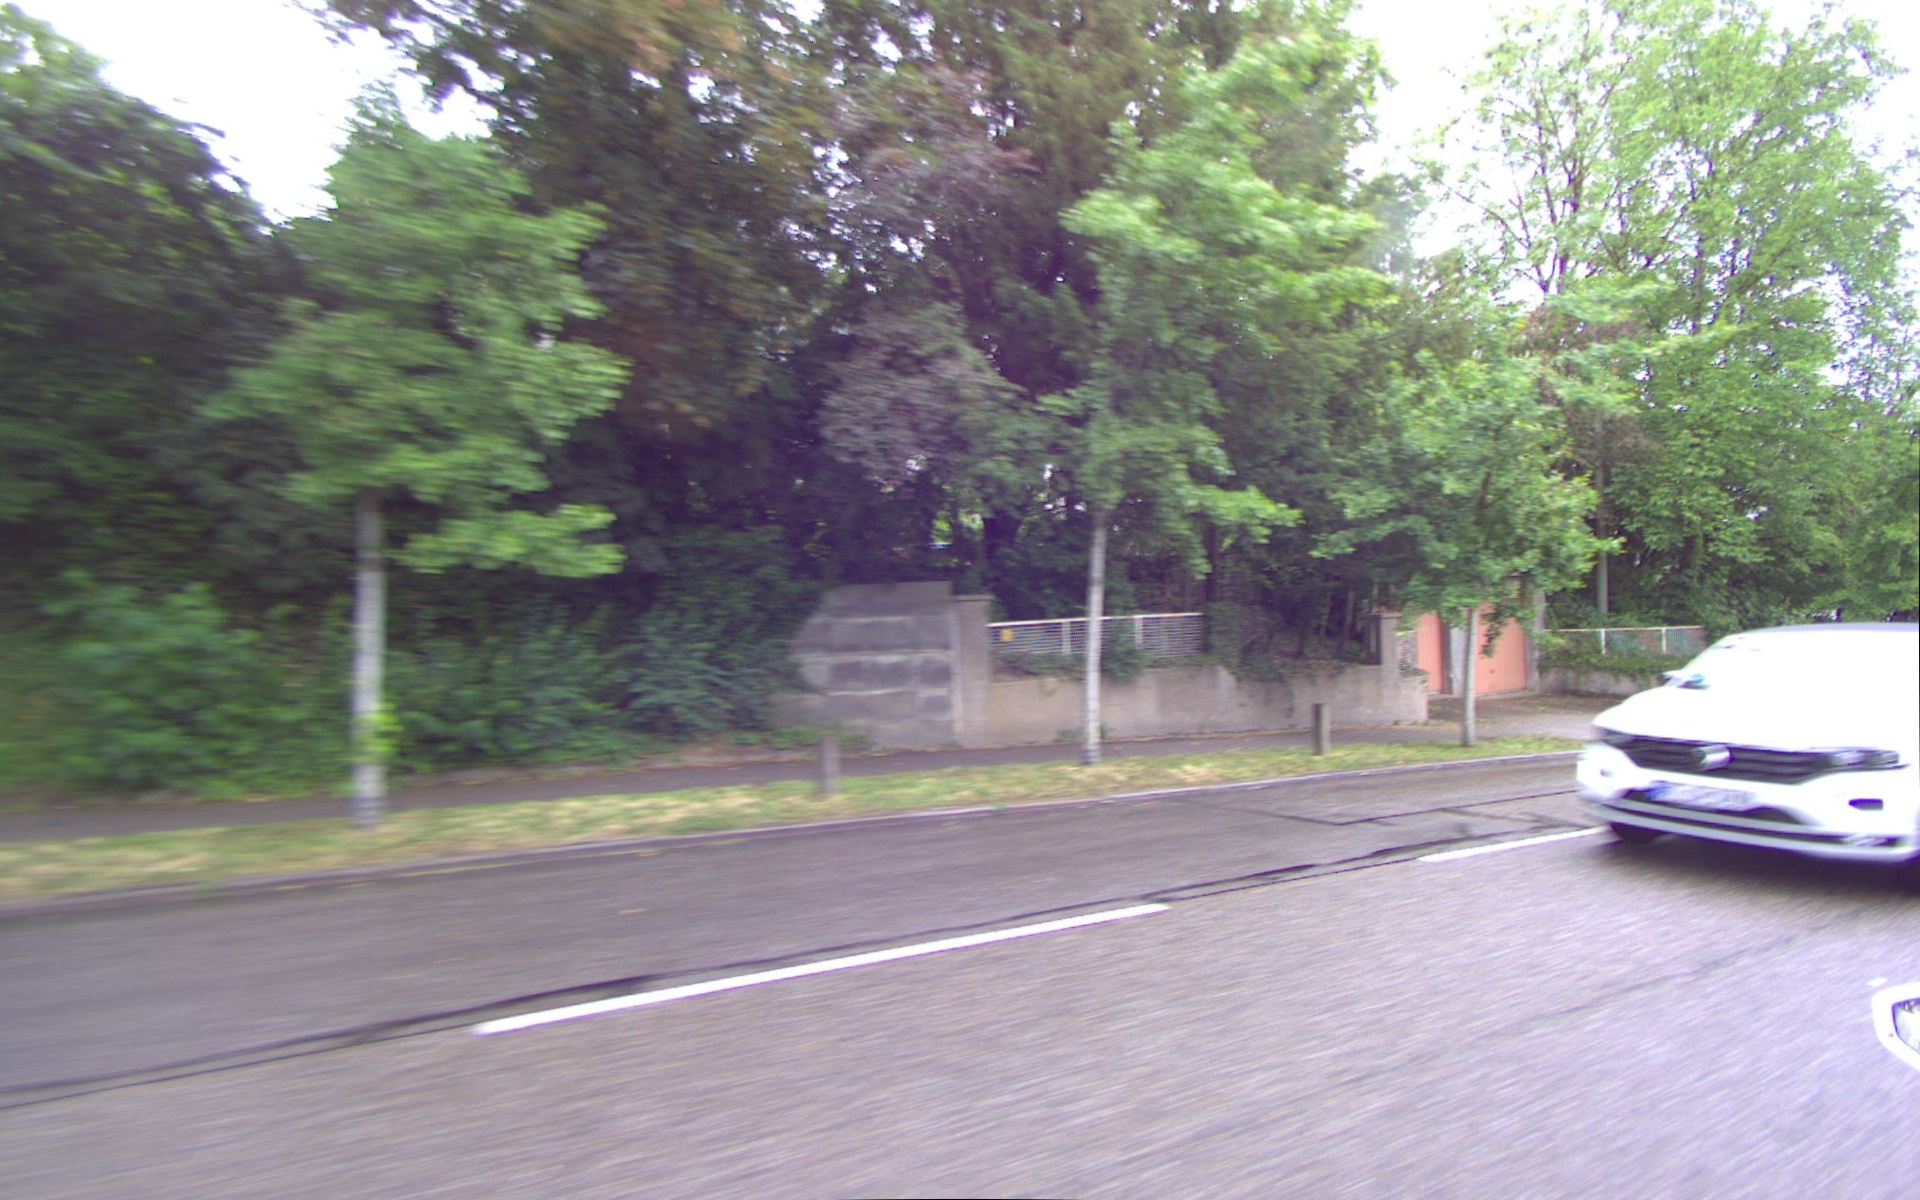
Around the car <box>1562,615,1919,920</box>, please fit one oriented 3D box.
[{"bbox_3d":[6.136,0.906,6.844,4.046,1.529,1.785,2,-1,-30],"label":"car"}]
